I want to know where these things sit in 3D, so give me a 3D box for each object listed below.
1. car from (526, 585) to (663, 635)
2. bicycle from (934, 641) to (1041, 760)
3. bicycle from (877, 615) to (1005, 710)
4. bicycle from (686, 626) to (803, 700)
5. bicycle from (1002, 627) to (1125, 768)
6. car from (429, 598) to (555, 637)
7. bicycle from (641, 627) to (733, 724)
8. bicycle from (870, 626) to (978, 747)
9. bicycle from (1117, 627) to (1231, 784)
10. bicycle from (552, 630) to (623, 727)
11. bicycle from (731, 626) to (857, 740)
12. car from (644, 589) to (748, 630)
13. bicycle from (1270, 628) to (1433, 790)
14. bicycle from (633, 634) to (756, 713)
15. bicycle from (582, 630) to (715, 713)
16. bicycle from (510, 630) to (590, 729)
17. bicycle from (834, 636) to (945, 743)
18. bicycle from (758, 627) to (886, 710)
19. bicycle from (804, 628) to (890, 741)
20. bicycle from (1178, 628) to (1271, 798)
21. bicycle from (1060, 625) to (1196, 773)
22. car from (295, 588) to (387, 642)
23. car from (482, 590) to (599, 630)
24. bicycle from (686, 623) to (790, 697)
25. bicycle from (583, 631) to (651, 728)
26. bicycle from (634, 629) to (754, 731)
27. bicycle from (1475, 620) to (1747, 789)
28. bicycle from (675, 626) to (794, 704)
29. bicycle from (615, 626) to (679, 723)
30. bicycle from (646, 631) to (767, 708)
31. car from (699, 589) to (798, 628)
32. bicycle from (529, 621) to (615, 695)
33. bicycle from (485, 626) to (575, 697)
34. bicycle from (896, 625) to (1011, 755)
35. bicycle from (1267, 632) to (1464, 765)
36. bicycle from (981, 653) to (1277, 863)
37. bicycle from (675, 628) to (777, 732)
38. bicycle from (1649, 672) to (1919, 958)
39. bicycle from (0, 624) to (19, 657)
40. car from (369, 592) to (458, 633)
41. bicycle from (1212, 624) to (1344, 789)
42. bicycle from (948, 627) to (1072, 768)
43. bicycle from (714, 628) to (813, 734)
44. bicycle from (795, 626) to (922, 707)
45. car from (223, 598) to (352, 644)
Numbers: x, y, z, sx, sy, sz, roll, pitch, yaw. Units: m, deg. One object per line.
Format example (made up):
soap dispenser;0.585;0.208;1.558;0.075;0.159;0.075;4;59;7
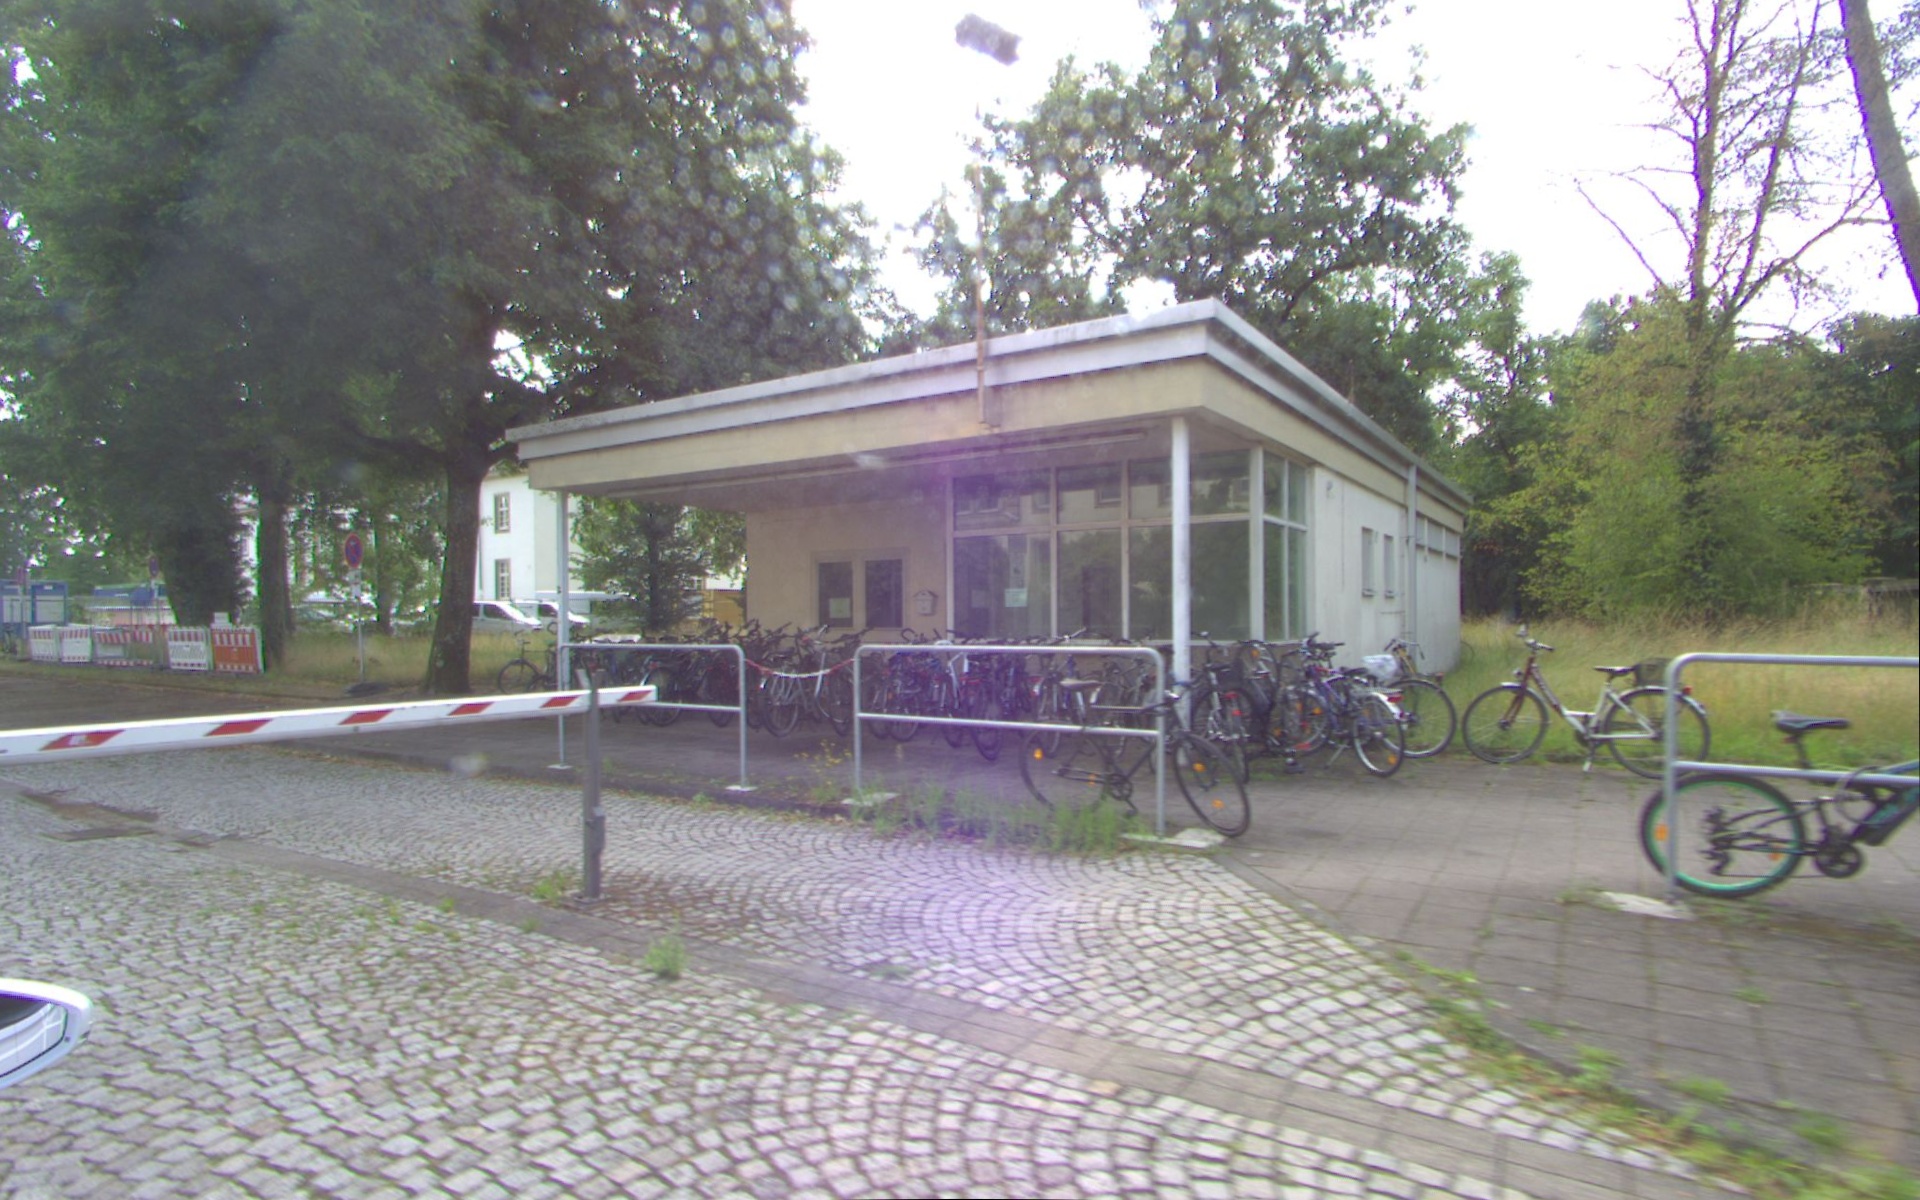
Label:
car;-18.221;0.508;50.087;6.079;2.338;2.000;-1;-1;2
bicycle;0.321;0.973;10.144;0.348;1.044;1.769;-2;-1;26
bicycle;-0.223;0.793;13.172;0.441;1.133;1.880;-2;-1;45
bicycle;-3.345;0.987;15.513;1.866;1.097;0.371;-2;0;22
bicycle;1.050;0.879;9.692;0.478;1.186;1.947;-2;-1;27
car;-20.948;0.790;44.893;4.746;1.671;2.000;-1;-1;5
bicycle;-3.611;0.976;13.319;0.353;1.186;1.378;-2;-1;24
bicycle;-0.356;0.908;11.139;0.394;1.186;1.980;-2;-1;22
bicycle;1.839;0.848;8.481;0.430;1.186;1.388;-3;-1;33
bicycle;-4.861;0.992;13.133;0.352;1.186;1.383;-2;-1;1
bicycle;-1.888;0.924;11.654;0.573;1.186;1.802;-2;-1;21
car;-14.573;0.550;55.091;5.618;1.982;2.435;-3;-1;35
bicycle;3.219;0.846;8.389;0.428;1.134;1.651;-2;2;-12
bicycle;-3.856;1.041;14.507;1.880;1.081;0.371;0;0;22
bicycle;-4.390;0.995;14.128;1.764;1.133;0.446;0;0;7
bicycle;-5.394;1.019;13.243;0.425;1.186;1.382;-2;0;1
bicycle;-0.747;0.963;11.301;0.394;1.042;1.980;-2;-1;22
bicycle;-1.975;0.961;14.235;1.866;1.133;0.371;-1;0;22
bicycle;-1.273;0.932;11.582;0.394;1.174;1.704;-2;-1;14
bicycle;2.132;0.861;8.213;0.428;1.186;1.652;-2;0;5
bicycle;1.620;0.862;9.360;0.479;1.186;2.066;-3;-1;31
car;-30.054;0.762;48.563;5.287;2.455;1.987;-2;-1;36
car;-19.822;0.493;47.421;4.746;1.812;2.000;-1;-1;5
bicycle;-3.607;0.978;16.208;1.871;1.143;0.370;-2;0;31
bicycle;-4.462;1.005;13.094;0.352;1.186;1.383;-2;-1;1
bicycle;-3.388;0.987;12.895;0.353;1.186;1.799;-2;-1;27
bicycle;5.051;0.783;7.866;0.432;1.186;1.708;-2;-1;-44
bicycle;-3.422;0.969;15.123;1.866;1.133;0.371;-1;0;22
bicycle;-4.072;0.941;13.109;0.352;1.186;1.383;-2;-1;1
bicycle;-3.776;1.034;14.865;1.866;1.095;0.371;-2;0;23
car;-12.330;0.532;58.239;5.618;1.982;2.435;-3;-1;35
bicycle;-6.520;0.972;16.818;1.533;1.186;0.503;-3;-1;32
bicycle;-7.070;0.986;16.436;1.561;1.101;0.503;0;1;28
bicycle;-0.021;0.881;10.508;0.394;1.186;2.016;1;0;24
bicycle;3.613;0.846;8.970;1.573;1.097;0.434;-1;0;32
bicycle;1.041;0.913;6.290;1.690;1.087;0.728;0;1;33
bicycle;-2.900;0.959;12.579;0.488;1.186;1.749;-2;-1;12
bicycle;3.951;0.892;4.328;1.572;1.071;0.728;0;1;33
bicycle;-30.537;1.308;31.930;1.702;1.020;0.331;-3;-1;32
car;-28.500;0.657;52.178;4.771;2.040;1.989;-1;0;33
bicycle;2.632;0.833;8.443;0.428;1.186;1.652;-2;1;-5
bicycle;0.543;0.886;9.782;0.386;1.186;2.070;-2;-1;26
bicycle;-2.398;0.955;12.416;0.488;1.186;1.805;-2;-1;12
bicycle;-1.495;0.979;14.613;1.866;1.133;0.371;-2;0;22
car;-28.898;0.904;43.137;1.973;1.844;4.208;-1;-1;34
